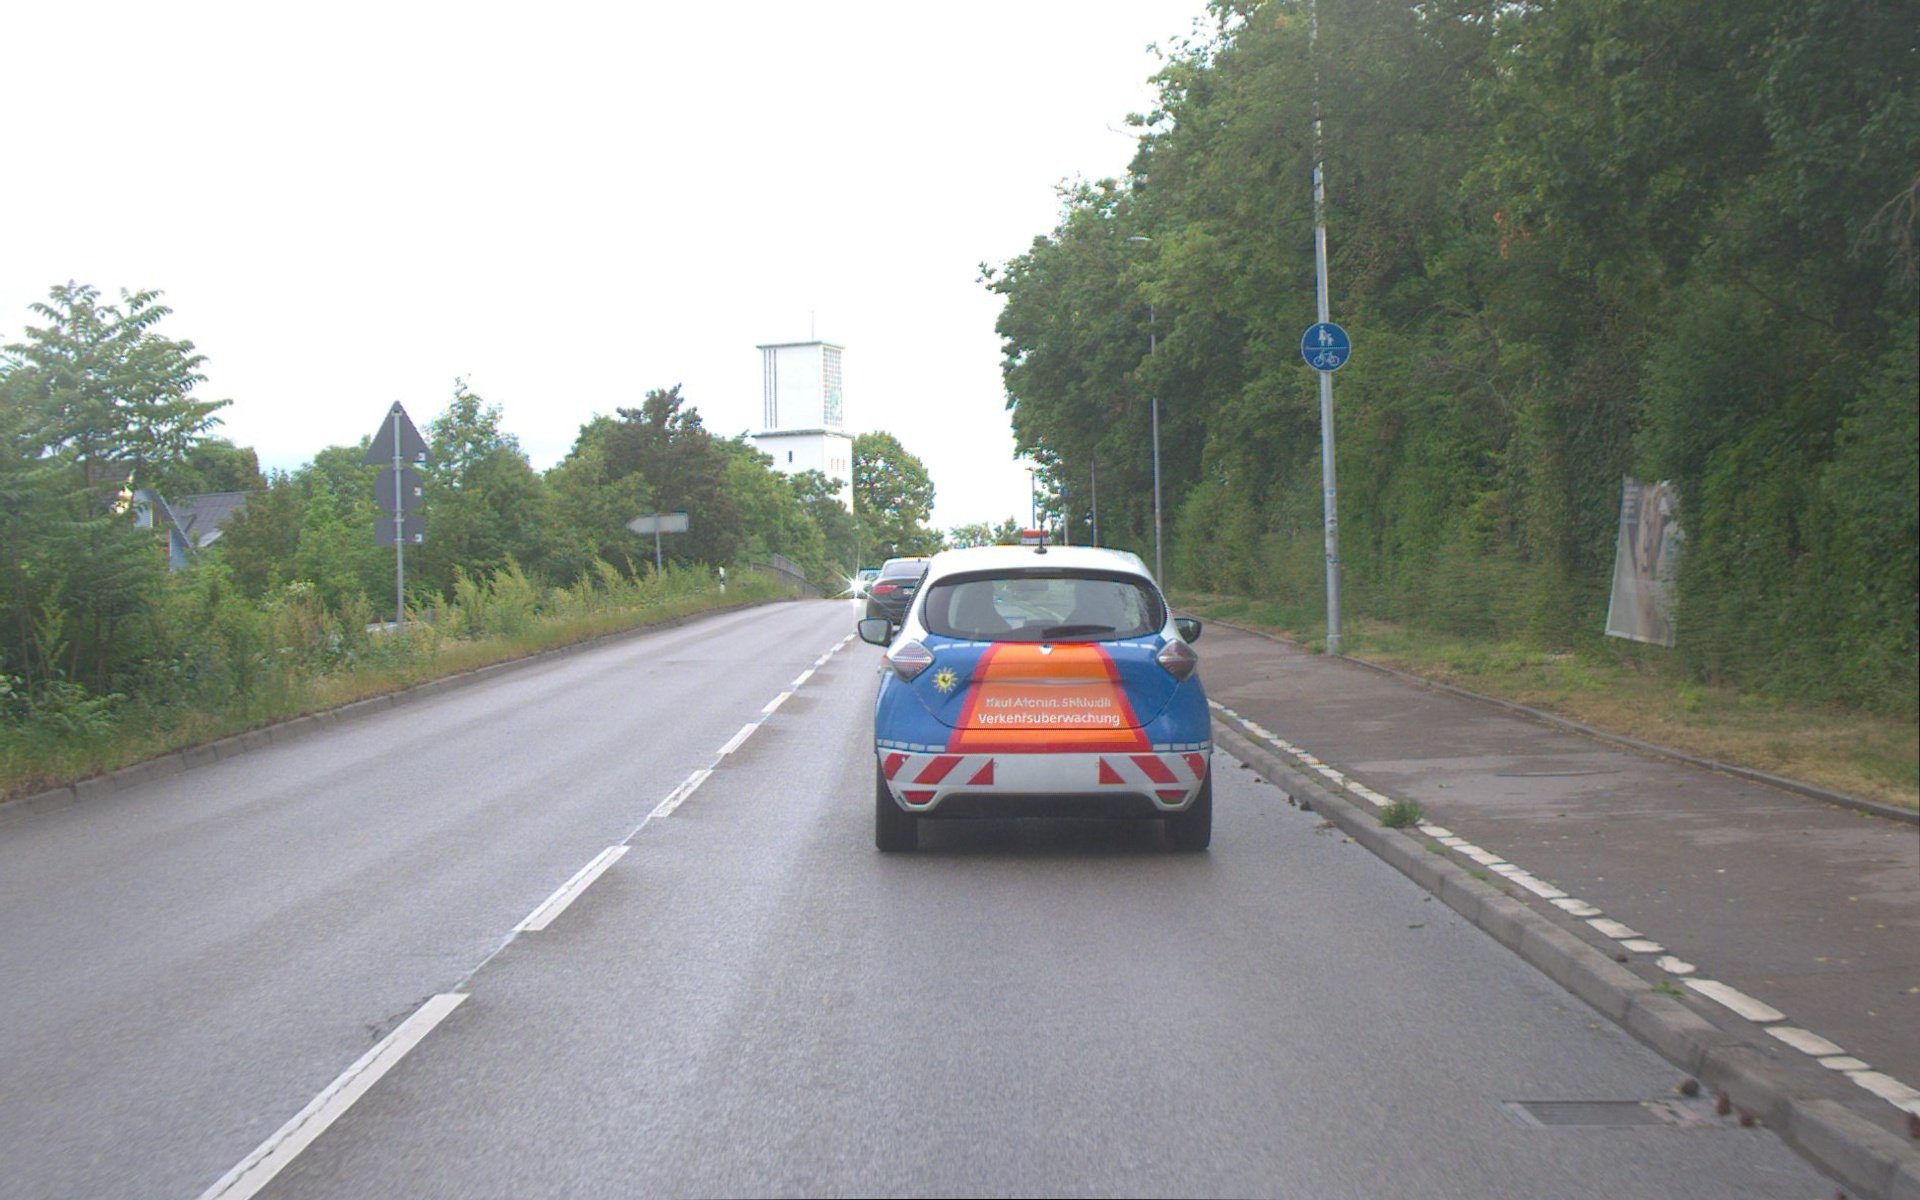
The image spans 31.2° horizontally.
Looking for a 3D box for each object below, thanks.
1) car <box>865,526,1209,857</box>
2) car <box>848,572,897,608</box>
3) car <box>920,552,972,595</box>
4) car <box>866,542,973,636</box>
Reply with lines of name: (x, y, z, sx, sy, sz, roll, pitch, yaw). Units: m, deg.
car: (0.366, 0.456, 18.497, 1.657, 1.587, 3.568, -1, 0, 0)
car: (-4.061, -0.490, 160.252, 1.869, 1.580, 4.414, 1, 1, 3)
car: (-0.498, -0.911, 119.842, 1.614, 1.402, 3.498, -2, 0, -3)
car: (-0.747, -0.193, 61.695, 1.802, 1.584, 3.563, -2, 0, -2)
